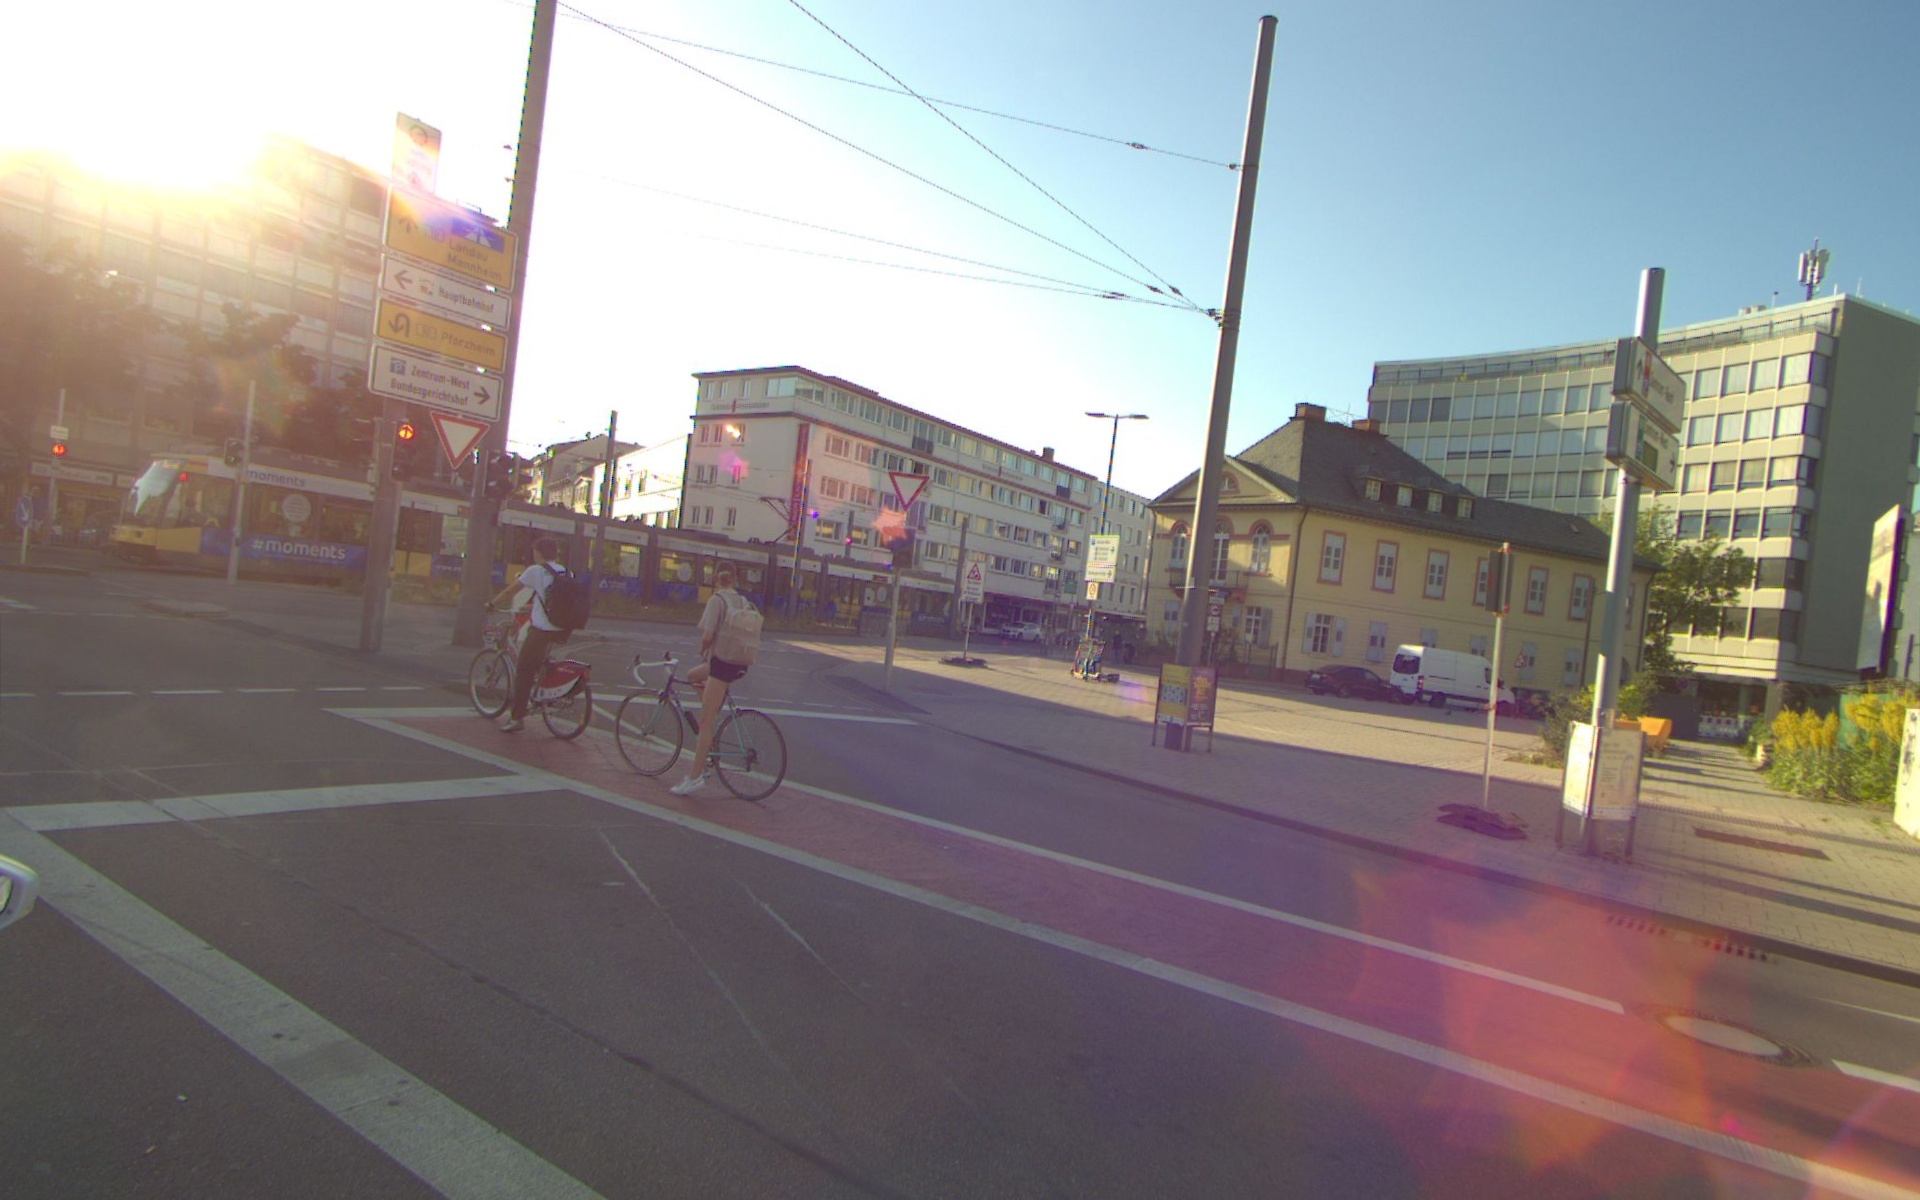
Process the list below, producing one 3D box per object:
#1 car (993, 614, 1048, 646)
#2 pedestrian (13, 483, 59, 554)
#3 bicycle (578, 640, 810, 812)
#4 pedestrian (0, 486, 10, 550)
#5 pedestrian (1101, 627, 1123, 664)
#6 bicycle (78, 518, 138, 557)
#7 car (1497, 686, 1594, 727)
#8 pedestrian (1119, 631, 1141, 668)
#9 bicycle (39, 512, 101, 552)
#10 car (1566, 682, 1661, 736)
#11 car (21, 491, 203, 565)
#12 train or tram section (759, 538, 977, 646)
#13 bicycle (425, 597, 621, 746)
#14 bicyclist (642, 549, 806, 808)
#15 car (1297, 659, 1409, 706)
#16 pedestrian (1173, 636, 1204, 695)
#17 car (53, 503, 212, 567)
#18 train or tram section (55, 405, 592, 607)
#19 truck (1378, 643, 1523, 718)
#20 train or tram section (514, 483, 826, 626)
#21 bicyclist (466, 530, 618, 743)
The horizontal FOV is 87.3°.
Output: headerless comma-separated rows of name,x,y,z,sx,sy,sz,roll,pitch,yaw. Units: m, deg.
car,5.041,2.506,83.391,1.970,2.036,4.858,6,-2,38
pedestrian,-25.407,-2.233,27.656,1.028,1.814,0.694,6,-1,44
bicycle,-2.038,0.917,7.646,1.664,1.013,0.543,6,-1,27
pedestrian,-26.387,-2.271,27.217,1.026,1.702,0.695,6,-1,38
pedestrian,7.234,2.186,47.977,0.802,1.661,0.687,7,-1,14
bicycle,-33.916,-2.506,40.030,2.594,1.157,0.751,9,0,26
car,27.095,4.926,46.591,3.706,1.380,1.709,8,-2,-17
pedestrian,8.101,2.371,47.881,0.802,1.661,0.687,7,-1,12
bicycle,-34.495,-2.633,38.985,2.594,1.157,0.751,9,0,26
car,31.153,5.204,47.979,3.706,2.003,1.709,8,-2,-17
car,-26.868,-2.258,31.988,1.816,1.636,3.990,6,-2,36
train or tram section,-4.339,-0.193,52.449,3.656,3.877,12.955,6,-2,34
bicycle,-4.036,0.635,9.251,1.777,1.113,0.543,6,-1,27
bicyclist,-1.746,0.565,7.485,0.778,1.766,0.615,7,-1,27
car,16.624,3.483,42.594,4.133,1.380,1.709,8,-2,-17
pedestrian,7.444,2.138,32.791,0.746,1.783,1.009,7,-1,16
car,-30.307,-2.348,36.948,1.816,1.636,4.071,6,-2,36
train or tram section,-17.738,-2.297,30.169,3.651,3.880,13.346,6,-1,28
truck,21.834,3.576,44.808,5.556,2.578,2.294,8,-2,-17
train or tram section,-11.307,-1.554,41.638,3.655,3.877,12.961,6,-2,32
bicyclist,-3.814,0.321,9.177,1.042,1.789,0.543,7,-1,27
